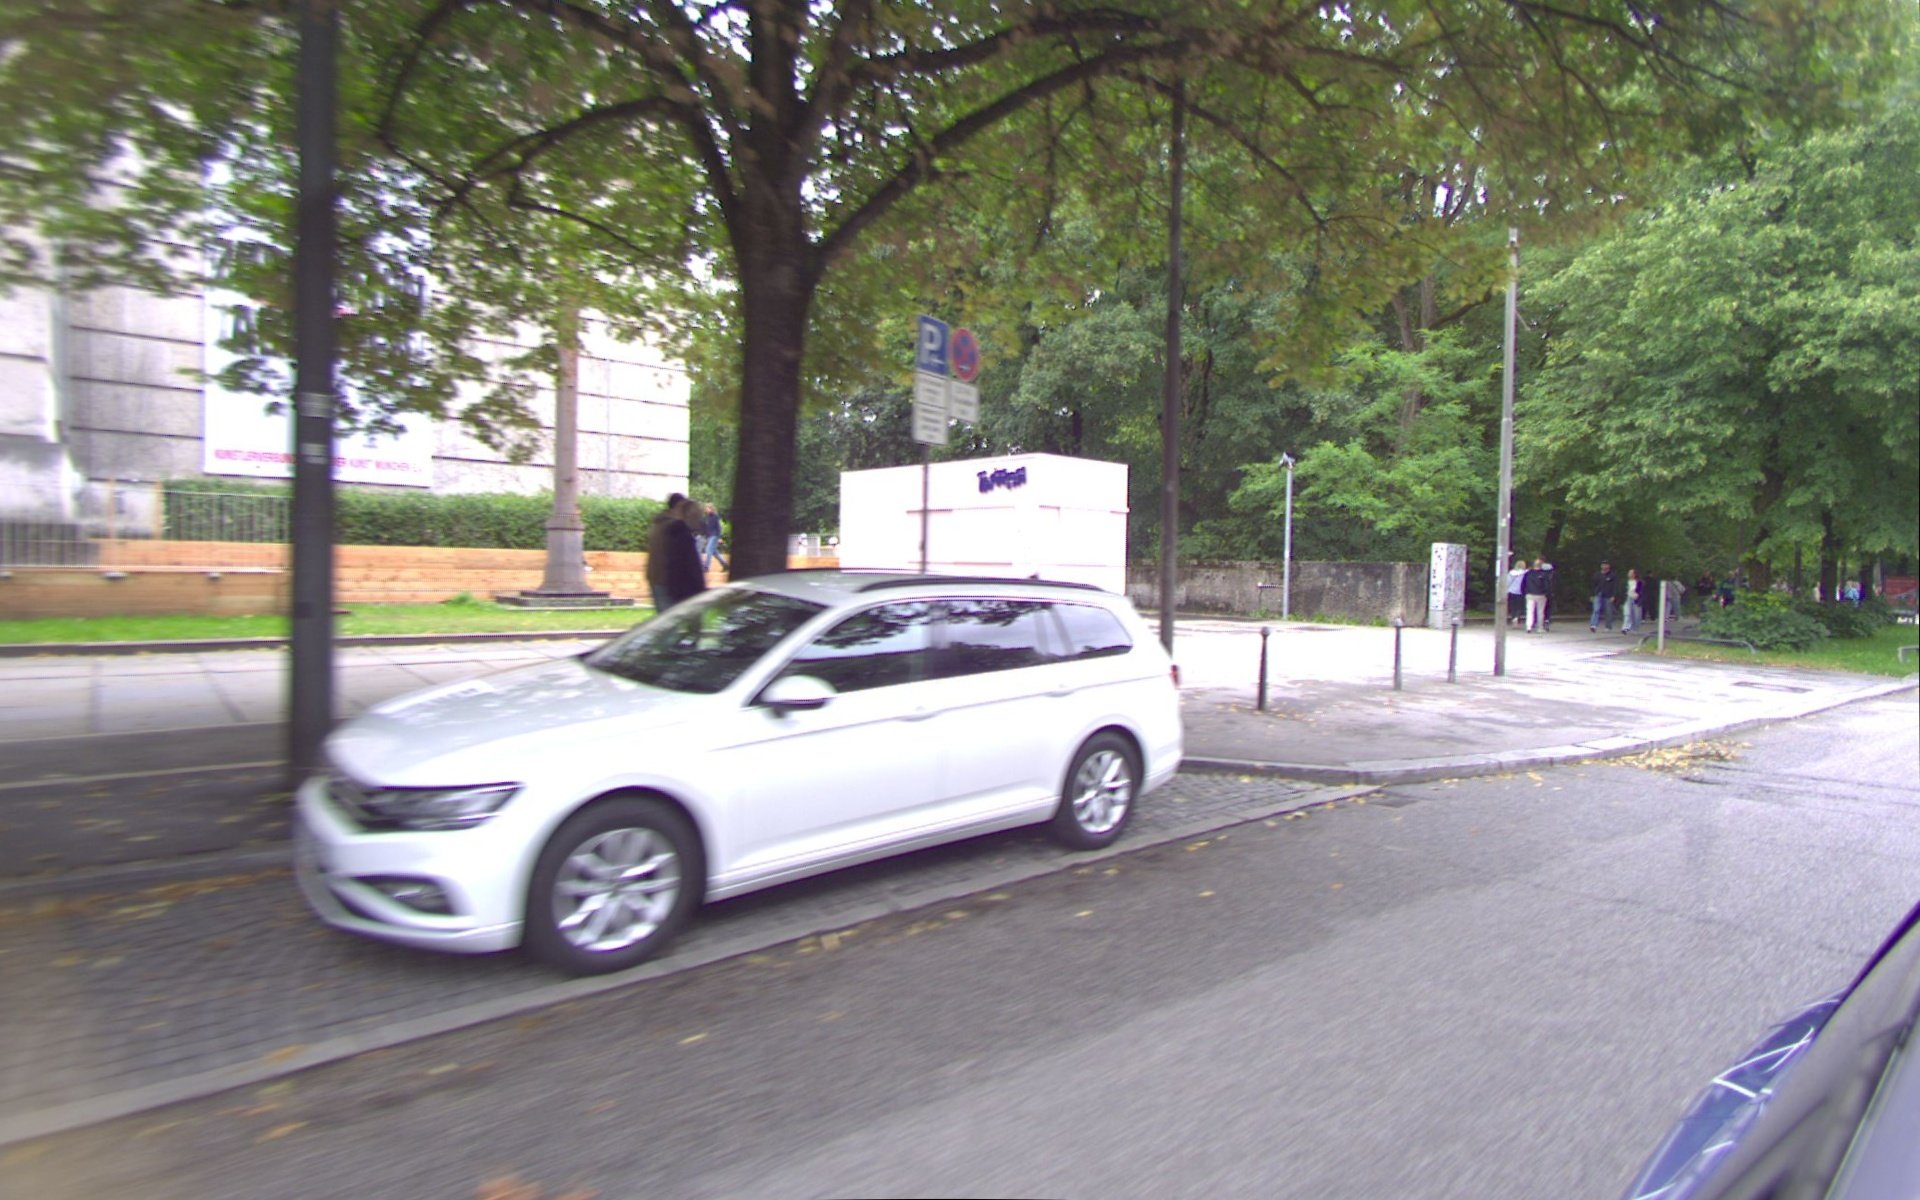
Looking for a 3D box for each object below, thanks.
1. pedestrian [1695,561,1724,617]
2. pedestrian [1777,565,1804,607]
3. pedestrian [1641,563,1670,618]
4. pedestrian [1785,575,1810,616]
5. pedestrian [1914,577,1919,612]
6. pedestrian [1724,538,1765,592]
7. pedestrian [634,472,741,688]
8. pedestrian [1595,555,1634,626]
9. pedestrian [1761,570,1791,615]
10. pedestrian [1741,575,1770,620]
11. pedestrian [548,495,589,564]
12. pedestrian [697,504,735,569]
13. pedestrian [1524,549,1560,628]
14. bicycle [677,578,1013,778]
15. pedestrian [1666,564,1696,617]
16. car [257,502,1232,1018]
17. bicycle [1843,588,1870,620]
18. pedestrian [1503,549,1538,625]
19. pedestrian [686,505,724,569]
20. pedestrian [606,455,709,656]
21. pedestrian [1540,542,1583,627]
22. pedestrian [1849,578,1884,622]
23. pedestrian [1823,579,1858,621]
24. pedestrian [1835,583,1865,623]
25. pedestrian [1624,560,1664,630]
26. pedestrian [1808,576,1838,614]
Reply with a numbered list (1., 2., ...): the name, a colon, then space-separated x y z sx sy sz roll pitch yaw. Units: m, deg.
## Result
1. pedestrian: 24.978 -0.369 33.729 0.835 1.845 0.589 0 0 -40
2. pedestrian: 30.236 -0.508 36.845 0.552 1.534 0.682 0 0 -40
3. pedestrian: 21.782 -0.297 31.701 0.543 1.696 0.582 0 0 -37
4. pedestrian: 38.971 -0.197 47.109 0.683 1.896 0.608 0 0 15
5. pedestrian: 52.903 -0.284 55.506 0.678 1.938 0.612 0 0 -24
6. pedestrian: 25.828 -1.151 33.317 0.832 1.759 0.758 0 0 -25
7. pedestrian: -2.587 -0.185 9.596 0.757 1.934 0.700 0 0 -40
8. pedestrian: 16.746 -0.246 25.890 0.782 1.785 0.609 0 0 -37
9. pedestrian: 29.170 -0.268 36.179 0.857 1.585 0.682 0 0 -40
10. pedestrian: 30.044 -0.089 38.227 0.590 1.657 0.682 0 2 -40
11. pedestrian: -8.855 -1.581 22.911 0.757 1.513 0.488 0 0 -40
12. pedestrian: -5.870 -1.514 24.379 0.757 1.513 0.488 0 0 -40
13. pedestrian: 13.821 -0.285 24.046 0.590 1.830 0.718 4 3 25
14. bicycle: -0.737 0.474 7.419 2.574 1.246 0.629 0 1 -43
15. pedestrian: 24.494 -0.320 34.386 0.767 1.796 0.632 0 0 -37
16. car: -0.747 0.430 5.281 4.667 1.568 1.832 0 3 -40
17. bicycle: 29.580 0.132 33.397 2.042 1.034 0.385 0 1 -41
18. pedestrian: 13.895 -0.329 25.097 0.590 1.830 0.718 4 3 25
19. pedestrian: -6.242 -1.522 24.769 0.757 1.513 0.488 0 0 -40
20. pedestrian: -3.074 -0.435 10.272 0.757 1.934 0.765 0 0 -40
21. pedestrian: 14.750 -0.393 24.810 0.711 2.038 0.596 0 4 -40
22. pedestrian: 35.315 -0.002 39.419 0.832 1.664 0.758 0 0 -25
23. pedestrian: 34.962 -0.016 40.197 0.832 1.664 0.758 0 0 -25
24. pedestrian: 38.088 0.127 43.296 0.637 1.664 0.758 0 0 -25
25. pedestrian: 17.126 -0.131 25.345 0.739 1.702 0.609 0 0 -37
26. pedestrian: 37.645 -0.225 44.148 0.676 1.664 0.758 0 0 -25
